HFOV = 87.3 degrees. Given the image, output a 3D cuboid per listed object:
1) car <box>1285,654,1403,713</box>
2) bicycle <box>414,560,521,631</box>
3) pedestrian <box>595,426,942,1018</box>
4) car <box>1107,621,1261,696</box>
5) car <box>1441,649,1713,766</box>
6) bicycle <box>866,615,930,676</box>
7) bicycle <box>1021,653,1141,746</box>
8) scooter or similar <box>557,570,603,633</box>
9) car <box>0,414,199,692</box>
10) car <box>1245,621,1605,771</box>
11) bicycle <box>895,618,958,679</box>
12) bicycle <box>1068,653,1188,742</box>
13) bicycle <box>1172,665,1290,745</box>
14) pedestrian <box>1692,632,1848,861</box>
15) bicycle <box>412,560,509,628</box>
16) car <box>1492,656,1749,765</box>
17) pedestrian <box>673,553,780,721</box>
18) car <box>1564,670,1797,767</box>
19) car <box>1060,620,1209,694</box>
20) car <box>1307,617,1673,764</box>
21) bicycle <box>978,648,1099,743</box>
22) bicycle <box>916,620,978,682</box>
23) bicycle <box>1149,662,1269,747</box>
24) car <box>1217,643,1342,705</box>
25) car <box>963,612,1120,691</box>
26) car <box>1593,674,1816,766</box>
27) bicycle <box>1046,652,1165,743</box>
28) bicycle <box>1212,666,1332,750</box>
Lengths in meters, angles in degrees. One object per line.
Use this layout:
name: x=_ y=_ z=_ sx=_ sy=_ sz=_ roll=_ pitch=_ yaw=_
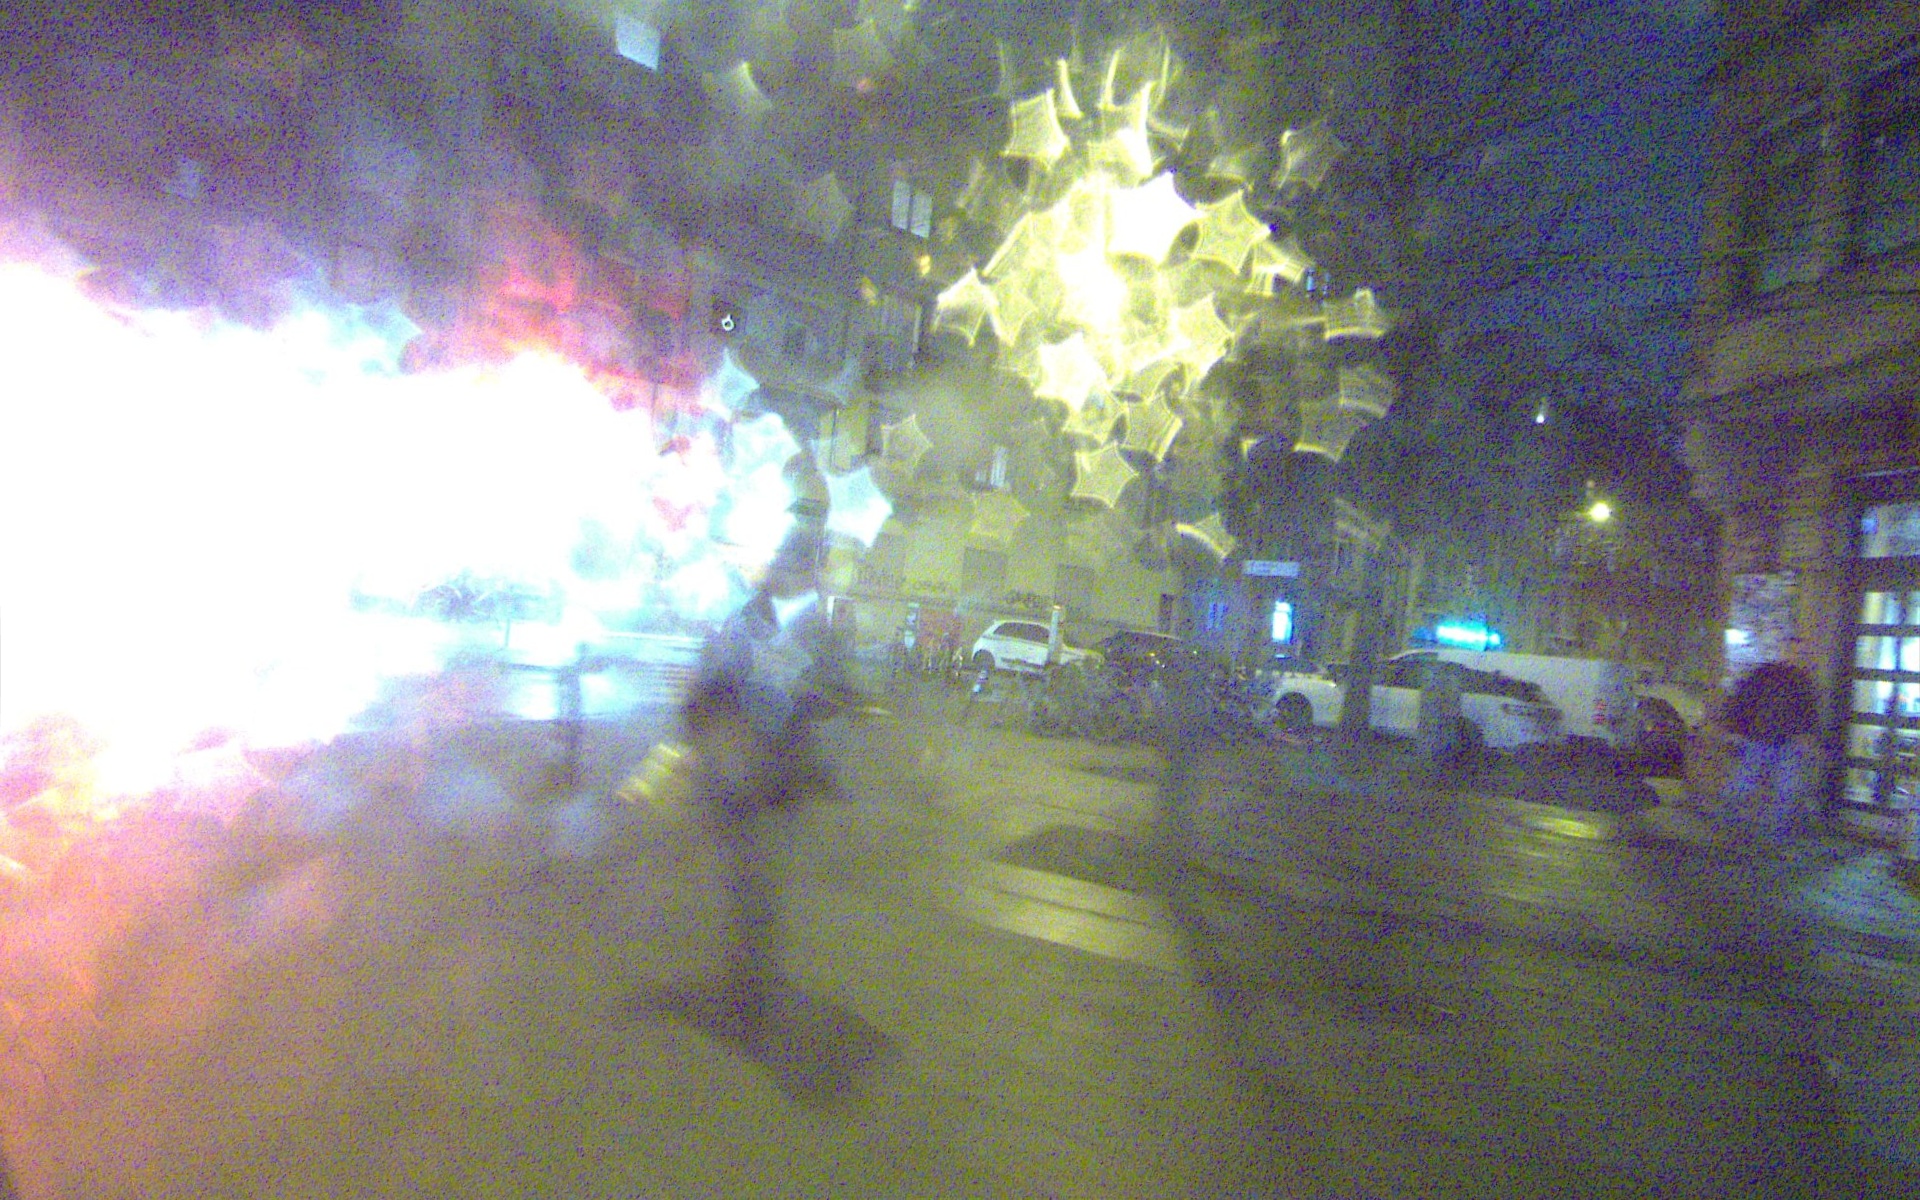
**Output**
car: x=13.508 y=2.936 z=35.402 sx=3.628 sy=1.595 sz=1.757 roll=5 pitch=-3 yaw=26
bicycle: x=-9.701 y=-0.079 z=19.852 sx=1.770 sy=1.188 sz=0.380 roll=7 pitch=0 yaw=-35
pedestrian: x=-0.648 y=0.386 z=3.539 sx=0.591 sy=1.792 sz=0.826 roll=6 pitch=-1 yaw=39
car: x=6.623 y=1.733 z=29.785 sx=4.035 sy=1.681 sz=1.757 roll=5 pitch=-3 yaw=26
car: x=12.986 y=2.224 z=21.390 sx=1.986 sy=1.783 sz=4.414 roll=8 pitch=-2 yaw=-40
bicycle: x=-1.334 y=1.017 z=22.141 sx=0.444 sy=1.189 sz=1.966 roll=6 pitch=-3 yaw=24
bicycle: x=1.629 y=1.342 z=13.881 sx=0.400 sy=1.021 sz=1.791 roll=6 pitch=0 yaw=-38
scooter or similar: x=-8.287 y=0.016 z=21.905 sx=0.522 sy=1.244 sz=1.301 roll=8 pitch=-1 yaw=-33
car: x=-8.739 y=-0.503 z=9.061 sx=4.539 sy=2.015 sz=2.119 roll=5 pitch=-1 yaw=43
car: x=7.642 y=1.528 z=17.034 sx=1.985 sy=1.783 sz=5.042 roll=8 pitch=-2 yaw=-39
bicycle: x=-0.711 y=1.079 z=21.885 sx=0.444 sy=1.189 sz=1.966 roll=6 pitch=-3 yaw=24
bicycle: x=2.370 y=1.368 z=14.375 sx=0.400 sy=1.020 sz=1.791 roll=8 pitch=-2 yaw=-38
bicycle: x=4.152 y=1.599 z=15.534 sx=0.400 sy=1.020 sz=1.792 roll=8 pitch=-3 yaw=-38
pedestrian: x=7.080 y=1.243 z=8.799 sx=0.785 sy=1.839 sz=0.802 roll=5 pitch=0 yaw=-38
bicycle: x=-10.236 y=-0.107 z=20.646 sx=1.633 sy=1.187 sz=0.381 roll=9 pitch=-4 yaw=-35
car: x=14.959 y=2.470 z=23.001 sx=1.986 sy=1.783 sz=4.414 roll=8 pitch=-2 yaw=-40
pedestrian: x=-2.782 y=0.423 z=11.939 sx=0.868 sy=1.856 sz=0.977 roll=6 pitch=0 yaw=-27
car: x=18.399 y=3.004 z=25.851 sx=1.986 sy=1.783 sz=4.414 roll=8 pitch=-2 yaw=-40
car: x=4.873 y=1.582 z=28.032 sx=3.628 sy=1.595 sz=1.757 roll=5 pitch=-3 yaw=26
car: x=9.505 y=1.563 z=18.545 sx=1.986 sy=1.912 sz=5.487 roll=8 pitch=-2 yaw=-40
bicycle: x=1.039 y=1.270 z=13.675 sx=0.451 sy=1.021 sz=1.791 roll=6 pitch=0 yaw=-38
bicycle: x=-0.248 y=1.126 z=21.706 sx=0.444 sy=1.189 sz=1.966 roll=6 pitch=-3 yaw=24
bicycle: x=3.728 y=1.554 z=15.181 sx=0.400 sy=1.021 sz=1.791 roll=6 pitch=0 yaw=-38
car: x=10.629 y=2.452 z=33.444 sx=3.628 sy=1.595 sz=1.757 roll=5 pitch=-3 yaw=26
car: x=2.151 y=1.355 z=26.570 sx=3.628 sy=1.595 sz=1.757 roll=5 pitch=-3 yaw=26
car: x=20.097 y=3.220 z=27.316 sx=1.986 sy=1.783 sz=4.414 roll=8 pitch=-2 yaw=-40
bicycle: x=2.011 y=1.344 z=14.115 sx=0.376 sy=1.021 sz=1.791 roll=6 pitch=0 yaw=-38
bicycle: x=4.777 y=1.641 z=15.537 sx=0.400 sy=1.021 sz=1.759 roll=6 pitch=0 yaw=-38
